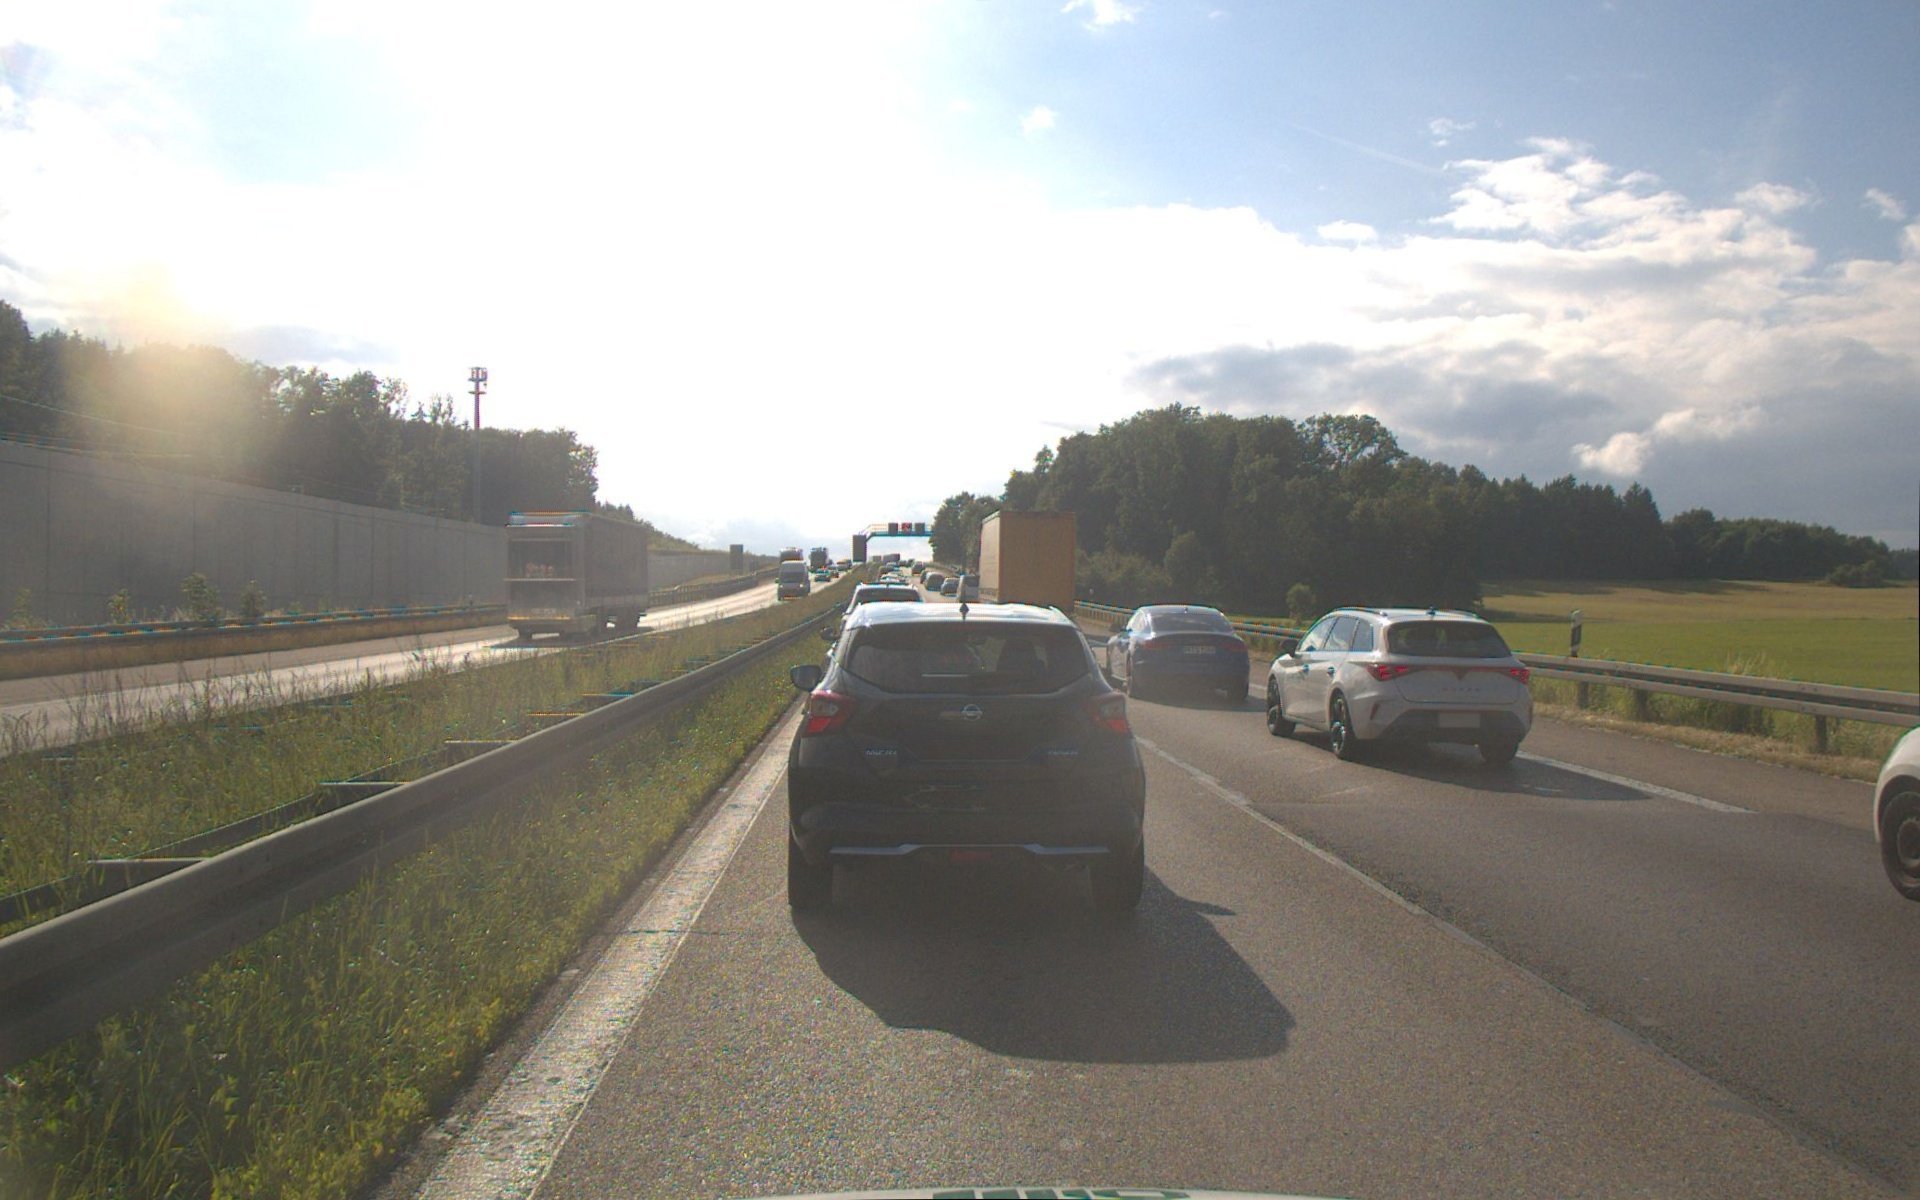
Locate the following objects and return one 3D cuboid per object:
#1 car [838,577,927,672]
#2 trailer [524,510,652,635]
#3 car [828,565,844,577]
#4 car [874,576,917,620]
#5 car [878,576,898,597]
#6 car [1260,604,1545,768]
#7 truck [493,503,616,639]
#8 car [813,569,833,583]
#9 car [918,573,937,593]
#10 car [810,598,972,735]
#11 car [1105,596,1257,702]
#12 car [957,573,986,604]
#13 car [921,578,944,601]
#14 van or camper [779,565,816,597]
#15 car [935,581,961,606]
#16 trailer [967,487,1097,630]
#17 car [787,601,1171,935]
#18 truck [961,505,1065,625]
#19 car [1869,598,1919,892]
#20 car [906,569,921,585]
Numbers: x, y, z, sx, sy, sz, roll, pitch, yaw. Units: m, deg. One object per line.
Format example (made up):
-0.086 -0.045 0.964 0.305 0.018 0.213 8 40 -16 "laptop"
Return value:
-1.490 0.470 32.695 1.640 1.756 3.595 1 0 -1 "car"
-13.708 -0.912 62.002 2.601 4.152 12.388 1 0 -3 "trailer"
-16.244 -3.776 216.322 1.767 1.543 4.689 1 0 -1 "car"
-3.131 -0.094 79.910 1.954 2.049 3.997 1 0 -3 "car"
-7.246 -1.373 167.094 1.954 2.049 3.997 1 0 -3 "car"
4.397 0.797 17.092 1.588 1.471 4.143 1 0 -4 "car"
-13.333 -0.877 54.896 2.585 4.169 6.998 1 0 -3 "truck"
-15.772 -2.764 190.484 1.953 1.512 4.397 1 0 -1 "car"
-3.591 -1.823 181.164 1.954 2.049 3.997 1 0 -3 "car"
-0.754 0.695 18.827 1.640 1.391 3.595 1 0 -1 "car"
3.380 0.722 25.992 1.712 1.501 4.145 1 0 -1 "car"
0.658 -0.689 98.358 1.633 1.785 3.326 1 0 -1 "car"
-2.629 -0.980 155.618 1.954 2.049 3.997 1 0 -3 "car"
-11.970 -1.391 122.128 2.122 2.244 6.257 1 0 -1 "van or camper"
-0.993 -0.540 137.306 1.954 2.049 3.997 1 0 -3 "car"
2.349 -1.302 59.575 3.478 4.535 12.714 1 0 -3 "trailer"
0.062 0.751 8.986 1.675 1.451 3.377 1 0 -1 "car"
2.017 -1.311 66.058 3.511 4.456 6.684 1 0 -3 "truck"
5.828 0.780 7.378 1.518 1.521 3.375 1 1 -4 "car"
-6.200 -3.048 220.858 1.954 2.049 3.997 1 0 -3 "car"
